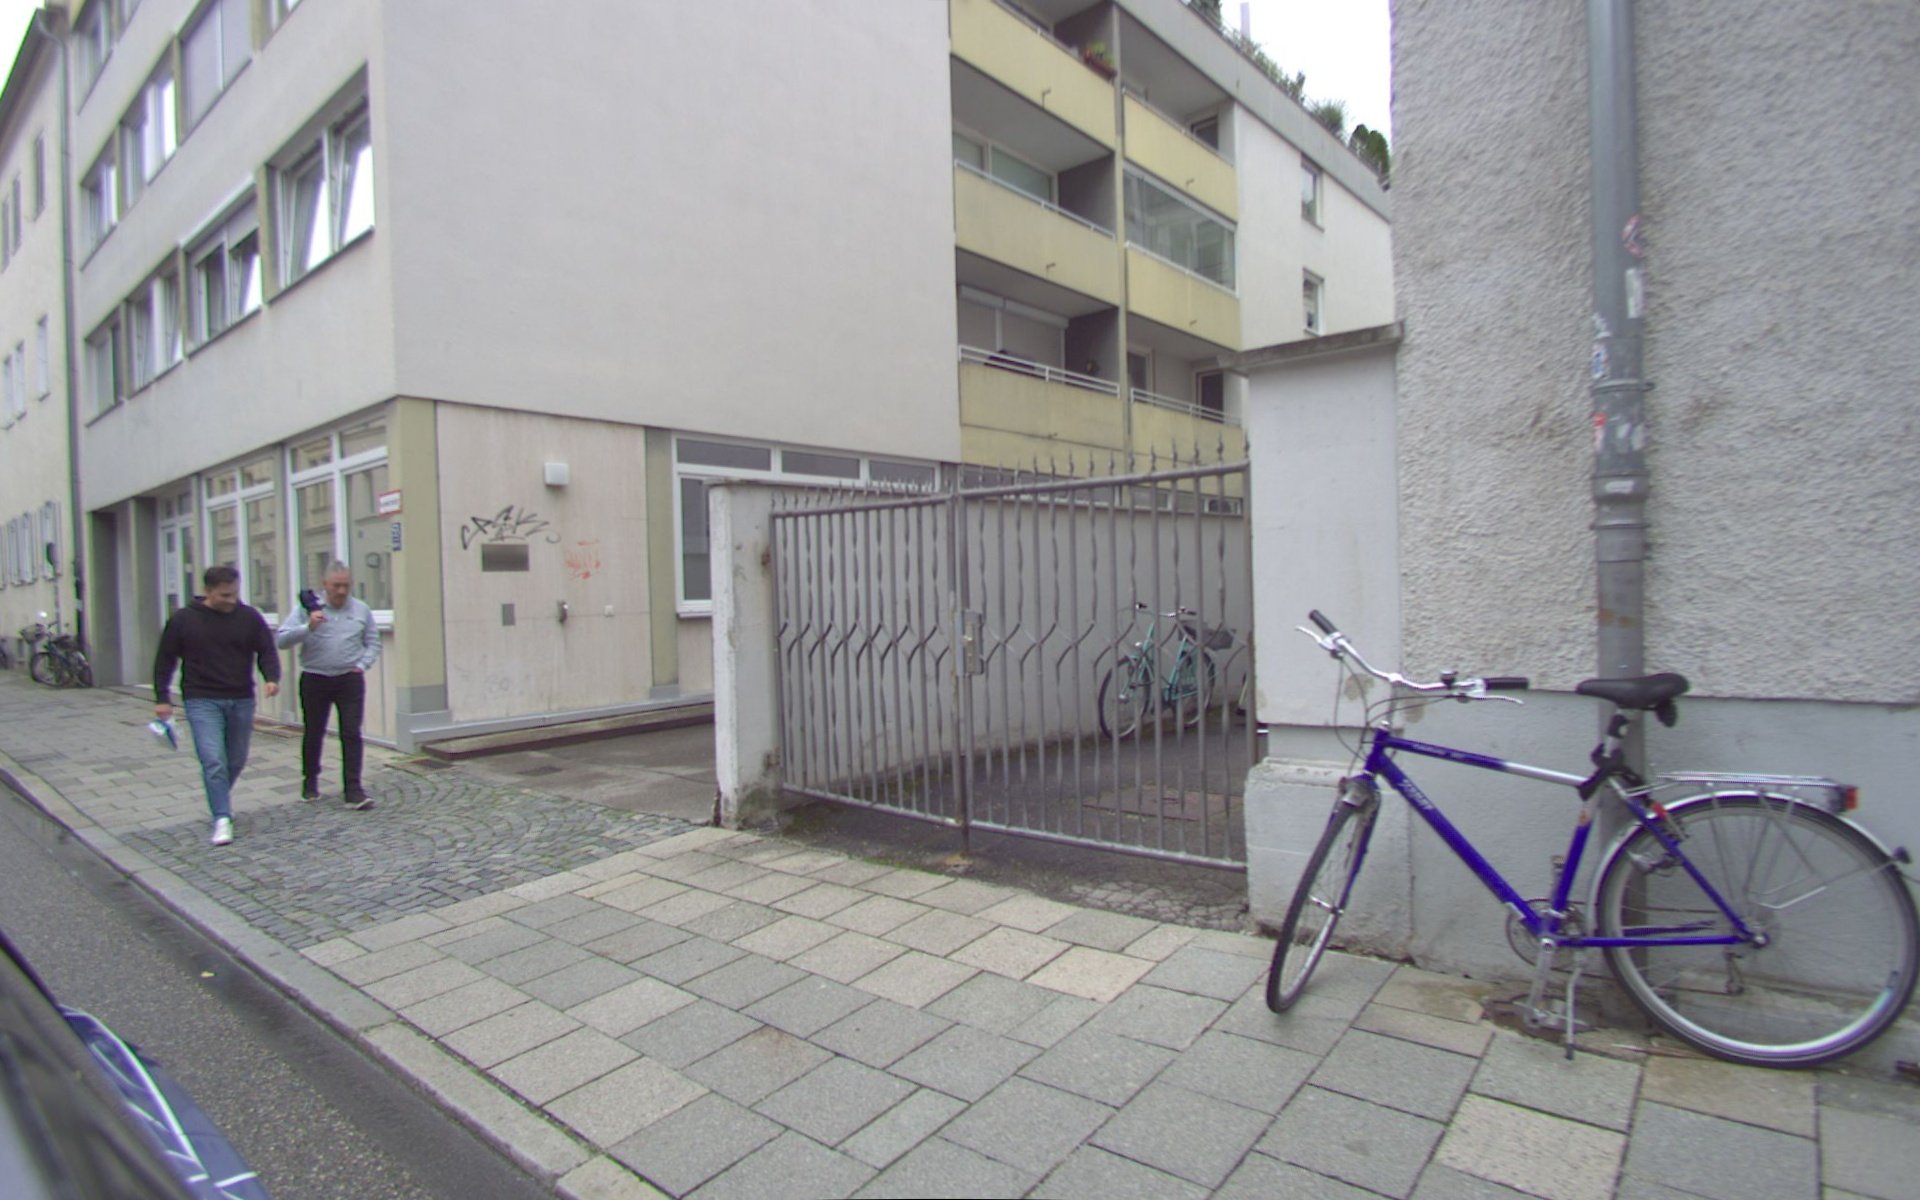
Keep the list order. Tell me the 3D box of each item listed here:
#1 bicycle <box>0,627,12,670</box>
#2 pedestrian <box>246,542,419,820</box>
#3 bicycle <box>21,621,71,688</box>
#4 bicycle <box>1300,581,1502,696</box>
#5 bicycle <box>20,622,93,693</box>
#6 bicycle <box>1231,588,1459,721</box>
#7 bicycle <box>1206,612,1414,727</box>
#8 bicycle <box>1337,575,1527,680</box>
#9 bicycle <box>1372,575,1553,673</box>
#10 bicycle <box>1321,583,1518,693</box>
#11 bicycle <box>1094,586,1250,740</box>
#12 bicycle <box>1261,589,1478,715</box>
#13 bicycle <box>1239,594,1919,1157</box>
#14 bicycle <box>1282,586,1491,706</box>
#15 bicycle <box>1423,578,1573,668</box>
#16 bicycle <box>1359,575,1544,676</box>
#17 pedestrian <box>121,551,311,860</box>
[{"bbox_3d":[-23.427,1.173,24.210,1.819,0.991,0.697,-1,5,37],"label":"bicycle"},{"bbox_3d":[-4.448,0.520,7.171,0.916,1.810,0.711,-1,3,41],"label":"pedestrian"},{"bbox_3d":[-17.172,1.005,19.008,1.605,1.168,0.453,-1,3,42],"label":"bicycle"},{"bbox_3d":[4.857,0.402,11.240,1.987,1.168,0.522,-1,1,39],"label":"bicycle"},{"bbox_3d":[-15.923,0.992,17.830,1.717,1.168,0.557,-1,1,35],"label":"bicycle"},{"bbox_3d":[3.694,0.490,9.830,1.987,1.168,0.522,-1,1,39],"label":"bicycle"},{"bbox_3d":[3.235,0.611,9.479,1.796,0.983,0.444,-1,1,41],"label":"bicycle"},{"bbox_3d":[5.613,0.310,12.116,1.987,1.168,0.484,-1,1,39],"label":"bicycle"},{"bbox_3d":[6.389,0.294,12.941,1.987,1.168,0.522,-1,1,39],"label":"bicycle"},{"bbox_3d":[5.257,0.410,11.662,1.987,1.168,0.522,-1,1,39],"label":"bicycle"},{"bbox_3d":[1.913,0.486,8.904,0.528,1.168,1.993,-1,1,37],"label":"bicycle"},{"bbox_3d":[4.152,0.498,10.368,1.987,1.168,0.522,-1,1,39],"label":"bicycle"},{"bbox_3d":[1.648,0.612,2.743,1.653,1.226,0.639,-1,0,22],"label":"bicycle"},{"bbox_3d":[4.507,0.462,10.799,1.987,1.168,0.476,-1,1,39],"label":"bicycle"},{"bbox_3d":[7.161,0.304,13.518,1.694,1.133,0.512,-1,-2,40],"label":"bicycle"},{"bbox_3d":[6.035,0.300,12.504,1.987,1.168,0.522,-1,1,39],"label":"bicycle"},{"bbox_3d":[-4.694,0.604,6.391,0.837,1.778,0.711,-1,3,41],"label":"pedestrian"}]
